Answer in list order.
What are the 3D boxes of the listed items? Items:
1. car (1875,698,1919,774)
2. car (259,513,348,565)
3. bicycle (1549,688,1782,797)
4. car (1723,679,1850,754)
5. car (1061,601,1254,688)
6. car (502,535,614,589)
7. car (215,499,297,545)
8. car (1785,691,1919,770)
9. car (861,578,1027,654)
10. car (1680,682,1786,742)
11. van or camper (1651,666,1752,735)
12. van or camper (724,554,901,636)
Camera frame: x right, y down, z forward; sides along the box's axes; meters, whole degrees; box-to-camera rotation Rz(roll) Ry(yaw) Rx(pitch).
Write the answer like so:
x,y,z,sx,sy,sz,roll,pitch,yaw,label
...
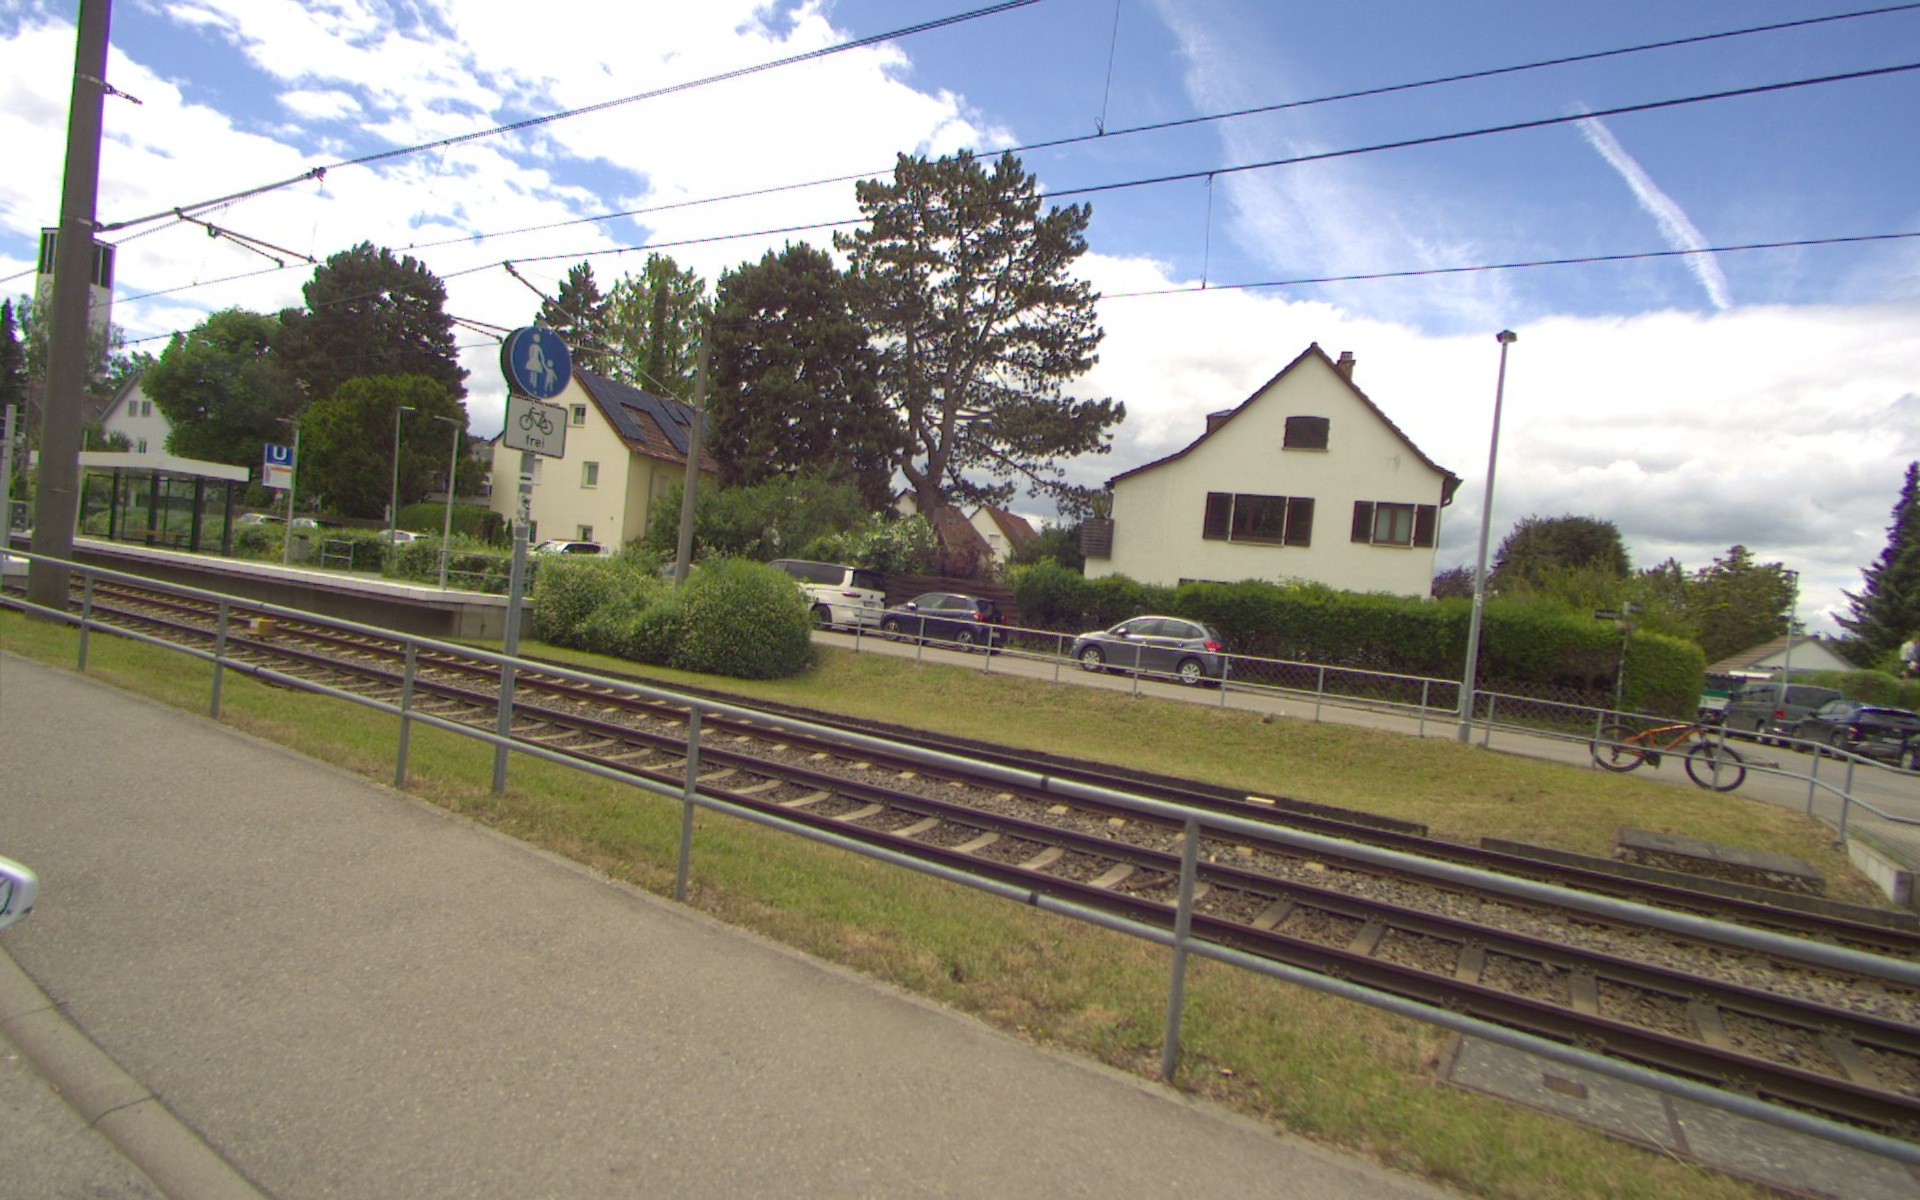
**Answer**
x,y,z,sx,sy,sz,roll,pitch,yaw,label
22.452,3.188,22.211,1.791,1.643,3.733,6,-1,17,car
-29.445,-2.739,45.101,3.870,1.936,1.735,5,-2,32,car
9.639,1.921,13.877,2.498,1.058,0.538,6,1,33,bicycle
25.840,3.589,31.598,1.791,1.887,3.641,6,0,20,car
4.633,1.029,23.699,3.933,1.541,1.886,6,0,31,car
-17.030,-1.566,42.842,1.715,1.970,4.332,7,3,26,car
-33.438,-3.720,47.753,3.871,1.772,1.734,6,0,33,car
23.931,3.420,26.833,1.792,1.643,3.970,6,0,23,car
-0.452,0.420,26.835,3.935,1.541,1.885,6,0,33,car
27.082,3.875,35.395,1.791,1.643,3.641,6,0,20,car
29.065,3.875,39.583,2.018,2.266,3.933,6,0,21,van or camper
-4.348,-0.167,29.296,4.965,1.848,1.907,6,0,33,van or camper
